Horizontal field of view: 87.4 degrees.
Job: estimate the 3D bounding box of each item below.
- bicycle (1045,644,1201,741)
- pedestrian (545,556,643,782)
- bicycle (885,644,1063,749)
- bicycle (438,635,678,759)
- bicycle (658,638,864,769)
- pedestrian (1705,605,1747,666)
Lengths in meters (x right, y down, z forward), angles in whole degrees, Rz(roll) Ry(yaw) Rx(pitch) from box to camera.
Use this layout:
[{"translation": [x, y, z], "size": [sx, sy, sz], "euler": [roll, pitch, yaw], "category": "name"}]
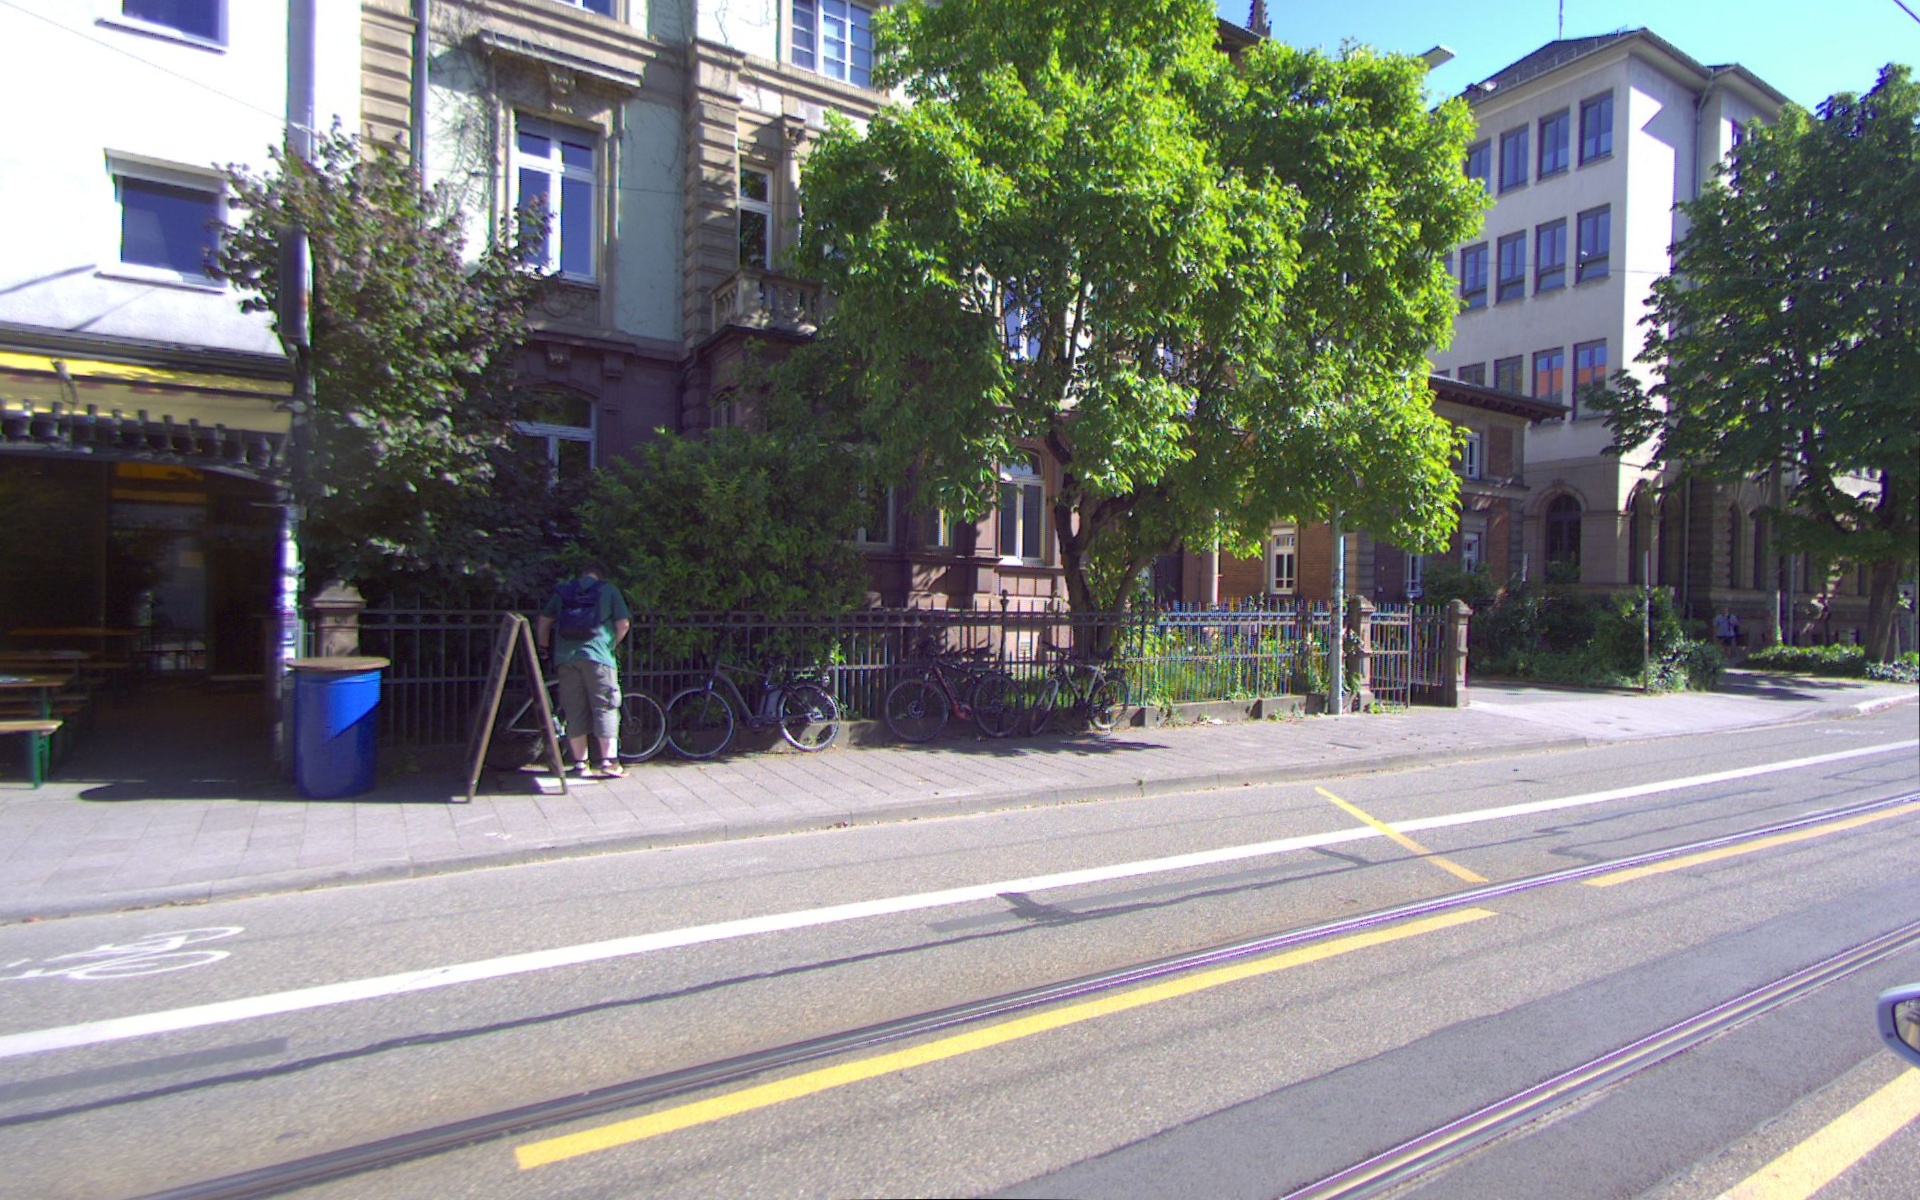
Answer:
[{"translation": [1.987, 1.087, 12.152], "size": [1.881, 1.059, 0.587], "euler": [1, 1, -28], "category": "bicycle"}, {"translation": [-3.118, 0.576, 8.598], "size": [0.677, 1.856, 0.576], "euler": [1, 0, -12], "category": "pedestrian"}, {"translation": [0.162, 1.038, 11.125], "size": [1.878, 1.059, 0.588], "euler": [1, 1, -24], "category": "bicycle"}, {"translation": [-3.683, 0.882, 9.376], "size": [1.988, 1.059, 0.637], "euler": [1, 0, -15], "category": "bicycle"}, {"translation": [-1.957, 0.984, 9.895], "size": [1.878, 1.159, 0.644], "euler": [1, 2, -24], "category": "bicycle"}, {"translation": [23.724, 1.096, 31.127], "size": [0.771, 1.821, 0.725], "euler": [1, 2, -32], "category": "pedestrian"}]
